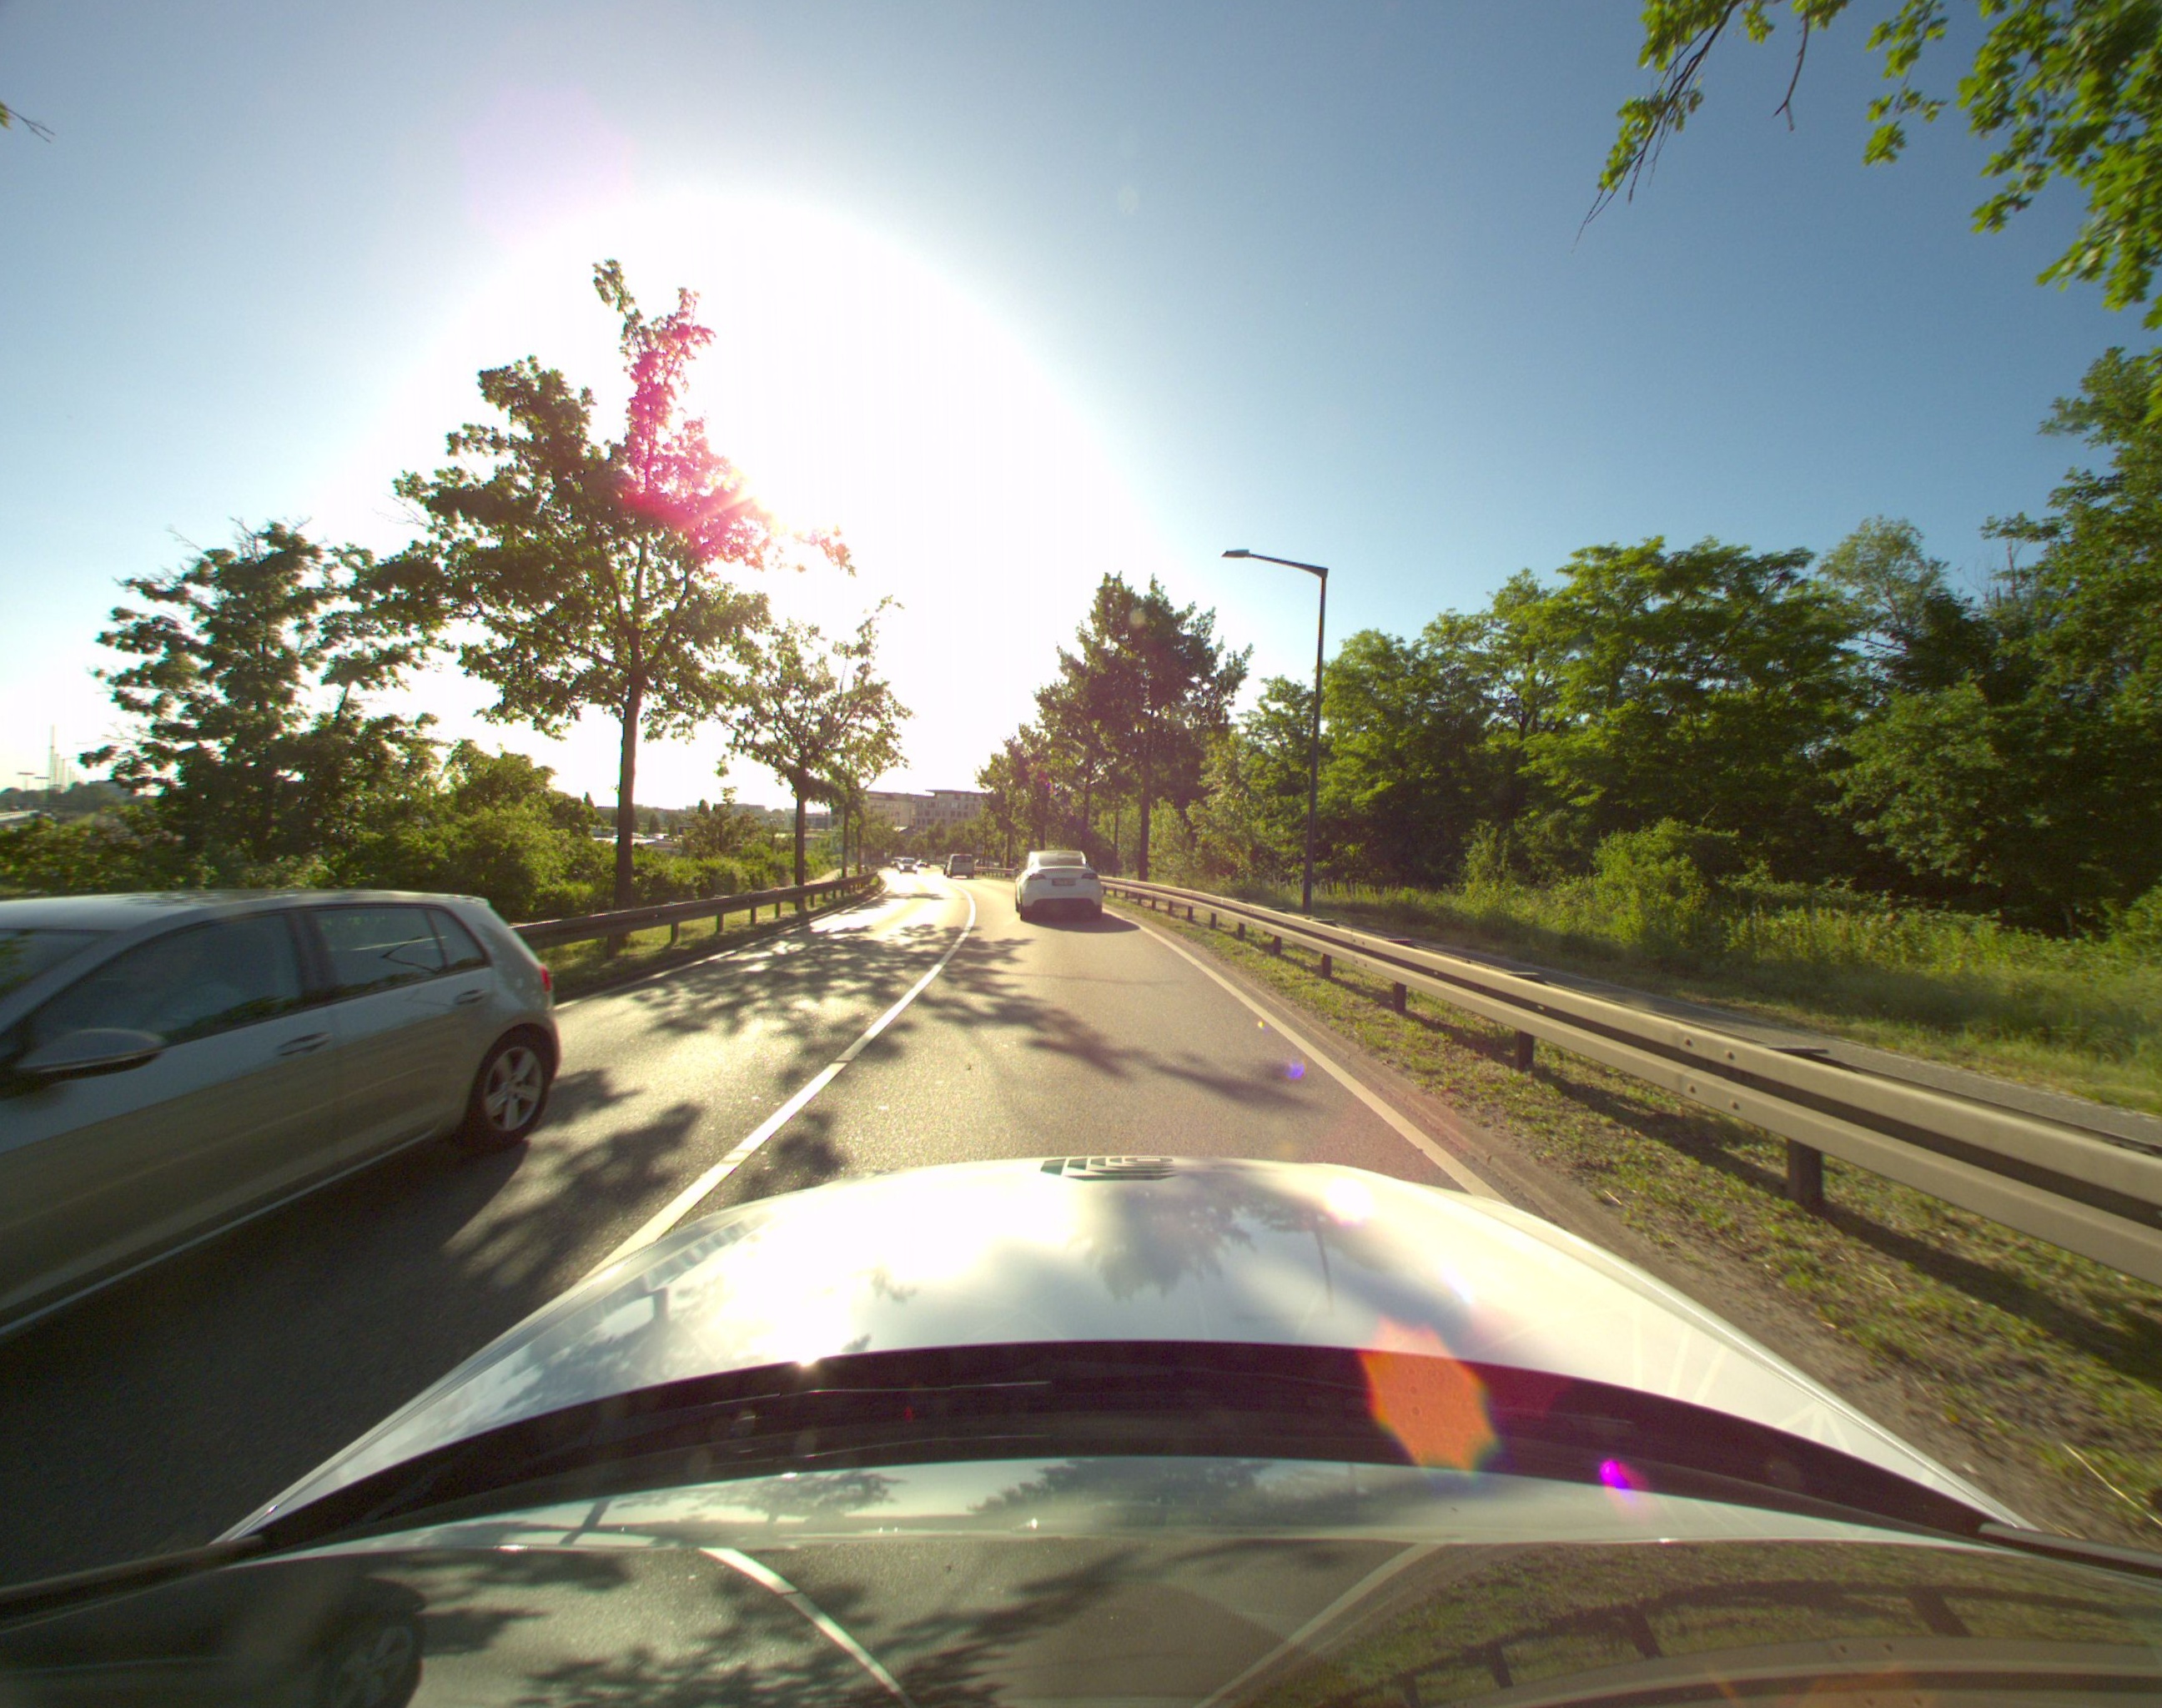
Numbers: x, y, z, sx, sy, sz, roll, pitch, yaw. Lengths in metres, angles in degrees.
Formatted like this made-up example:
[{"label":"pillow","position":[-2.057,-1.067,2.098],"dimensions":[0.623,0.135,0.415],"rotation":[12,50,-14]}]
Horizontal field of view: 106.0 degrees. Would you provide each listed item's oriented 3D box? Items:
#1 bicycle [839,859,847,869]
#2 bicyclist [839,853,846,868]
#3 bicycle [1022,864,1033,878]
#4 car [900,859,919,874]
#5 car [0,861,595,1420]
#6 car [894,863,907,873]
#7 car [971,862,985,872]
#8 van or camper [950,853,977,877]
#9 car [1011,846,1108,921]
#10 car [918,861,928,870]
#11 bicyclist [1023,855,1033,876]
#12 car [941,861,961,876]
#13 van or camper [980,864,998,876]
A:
[{"label":"bicycle","position":[-24.660,1.016,84.386],"dimensions":[0.661,1.095,2.098],"rotation":[0,0,-14]},{"label":"bicyclist","position":[-24.676,0.673,84.428],"dimensions":[0.652,1.623,0.870],"rotation":[0,-1,-15]},{"label":"bicycle","position":[-4.210,1.363,63.772],"dimensions":[0.698,1.074,1.920],"rotation":[0,-2,0]},{"label":"car","position":[-17.679,1.256,83.776],"dimensions":[1.811,1.554,4.121],"rotation":[0,0,-14]},{"label":"car","position":[-3.836,0.807,3.087],"dimensions":[1.691,1.518,3.977],"rotation":[-1,0,-2]},{"label":"car","position":[-27.878,2.167,125.849],"dimensions":[1.852,1.492,4.693],"rotation":[0,0,-14]},{"label":"car","position":[-19.971,2.565,157.813],"dimensions":[1.903,1.802,4.129],"rotation":[2,0,1]},{"label":"van or camper","position":[-9.334,0.868,64.780],"dimensions":[1.956,1.884,4.868],"rotation":[0,0,-7]},{"label":"car","position":[-0.648,0.673,20.186],"dimensions":[1.913,1.641,4.397],"rotation":[0,0,-8]},{"label":"car","position":[-28.635,2.076,147.368],"dimensions":[1.693,1.441,4.197],"rotation":[0,0,-13]},{"label":"bicyclist","position":[-4.148,0.918,63.693],"dimensions":[0.705,1.579,1.004],"rotation":[0,-3,-1]},{"label":"car","position":[-13.061,1.454,81.662],"dimensions":[1.606,1.434,3.661],"rotation":[2,-1,-13]},{"label":"van or camper","position":[-14.885,2.567,131.668],"dimensions":[1.816,1.791,4.553],"rotation":[3,1,6]}]
